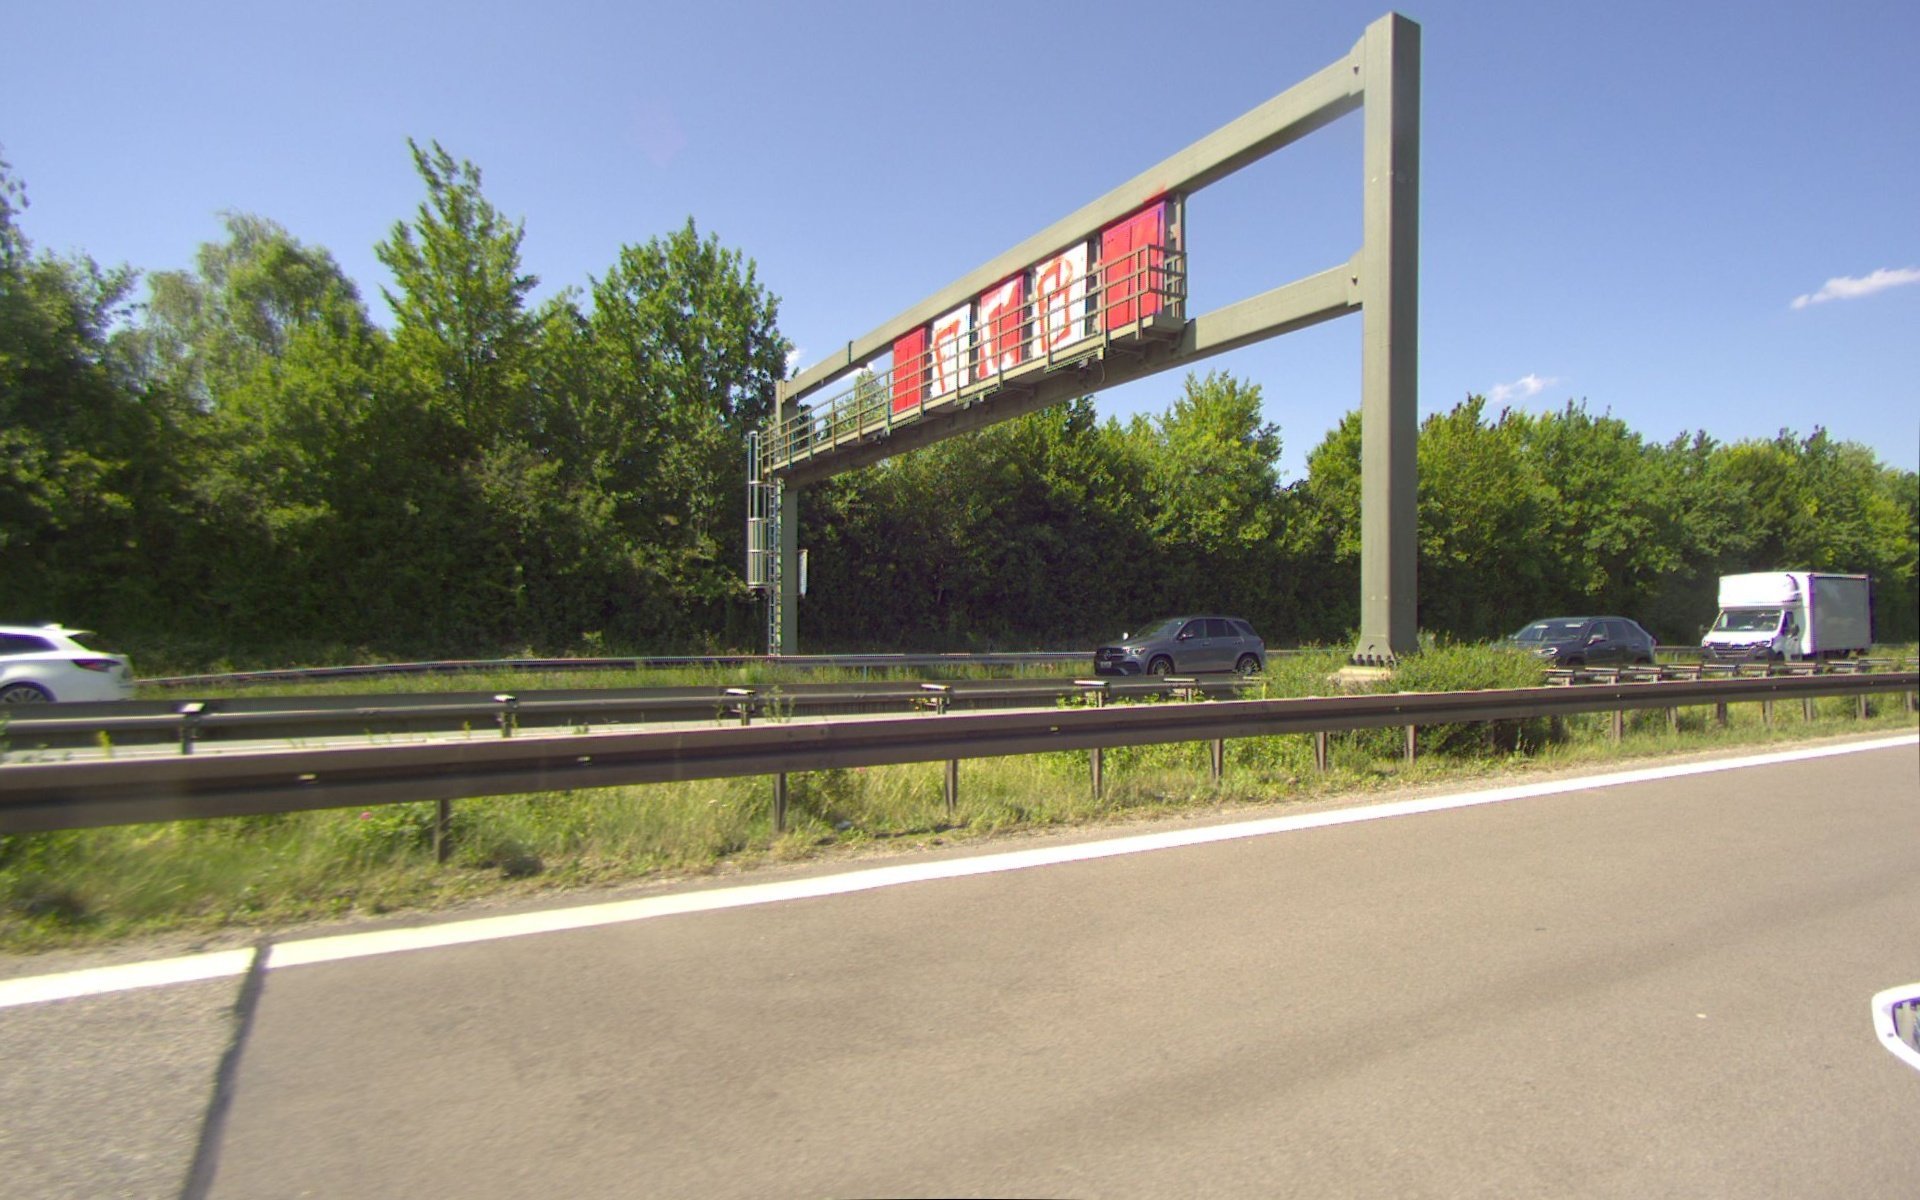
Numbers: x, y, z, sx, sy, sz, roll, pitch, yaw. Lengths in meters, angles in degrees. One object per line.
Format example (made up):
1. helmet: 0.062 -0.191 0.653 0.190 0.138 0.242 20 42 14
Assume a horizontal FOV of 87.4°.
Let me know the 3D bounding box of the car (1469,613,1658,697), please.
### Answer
1. car: 12.945 1.122 21.499 4.012 1.639 1.770 1 -1 -30

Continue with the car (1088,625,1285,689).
1. car: 5.851 1.413 25.713 5.007 1.484 1.893 2 -1 -31

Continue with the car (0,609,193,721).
1. car: -13.720 0.867 14.053 4.481 1.461 1.984 3 -1 -31

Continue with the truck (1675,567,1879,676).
1. truck: 27.689 0.806 33.917 7.966 3.348 2.765 3 -1 -31
